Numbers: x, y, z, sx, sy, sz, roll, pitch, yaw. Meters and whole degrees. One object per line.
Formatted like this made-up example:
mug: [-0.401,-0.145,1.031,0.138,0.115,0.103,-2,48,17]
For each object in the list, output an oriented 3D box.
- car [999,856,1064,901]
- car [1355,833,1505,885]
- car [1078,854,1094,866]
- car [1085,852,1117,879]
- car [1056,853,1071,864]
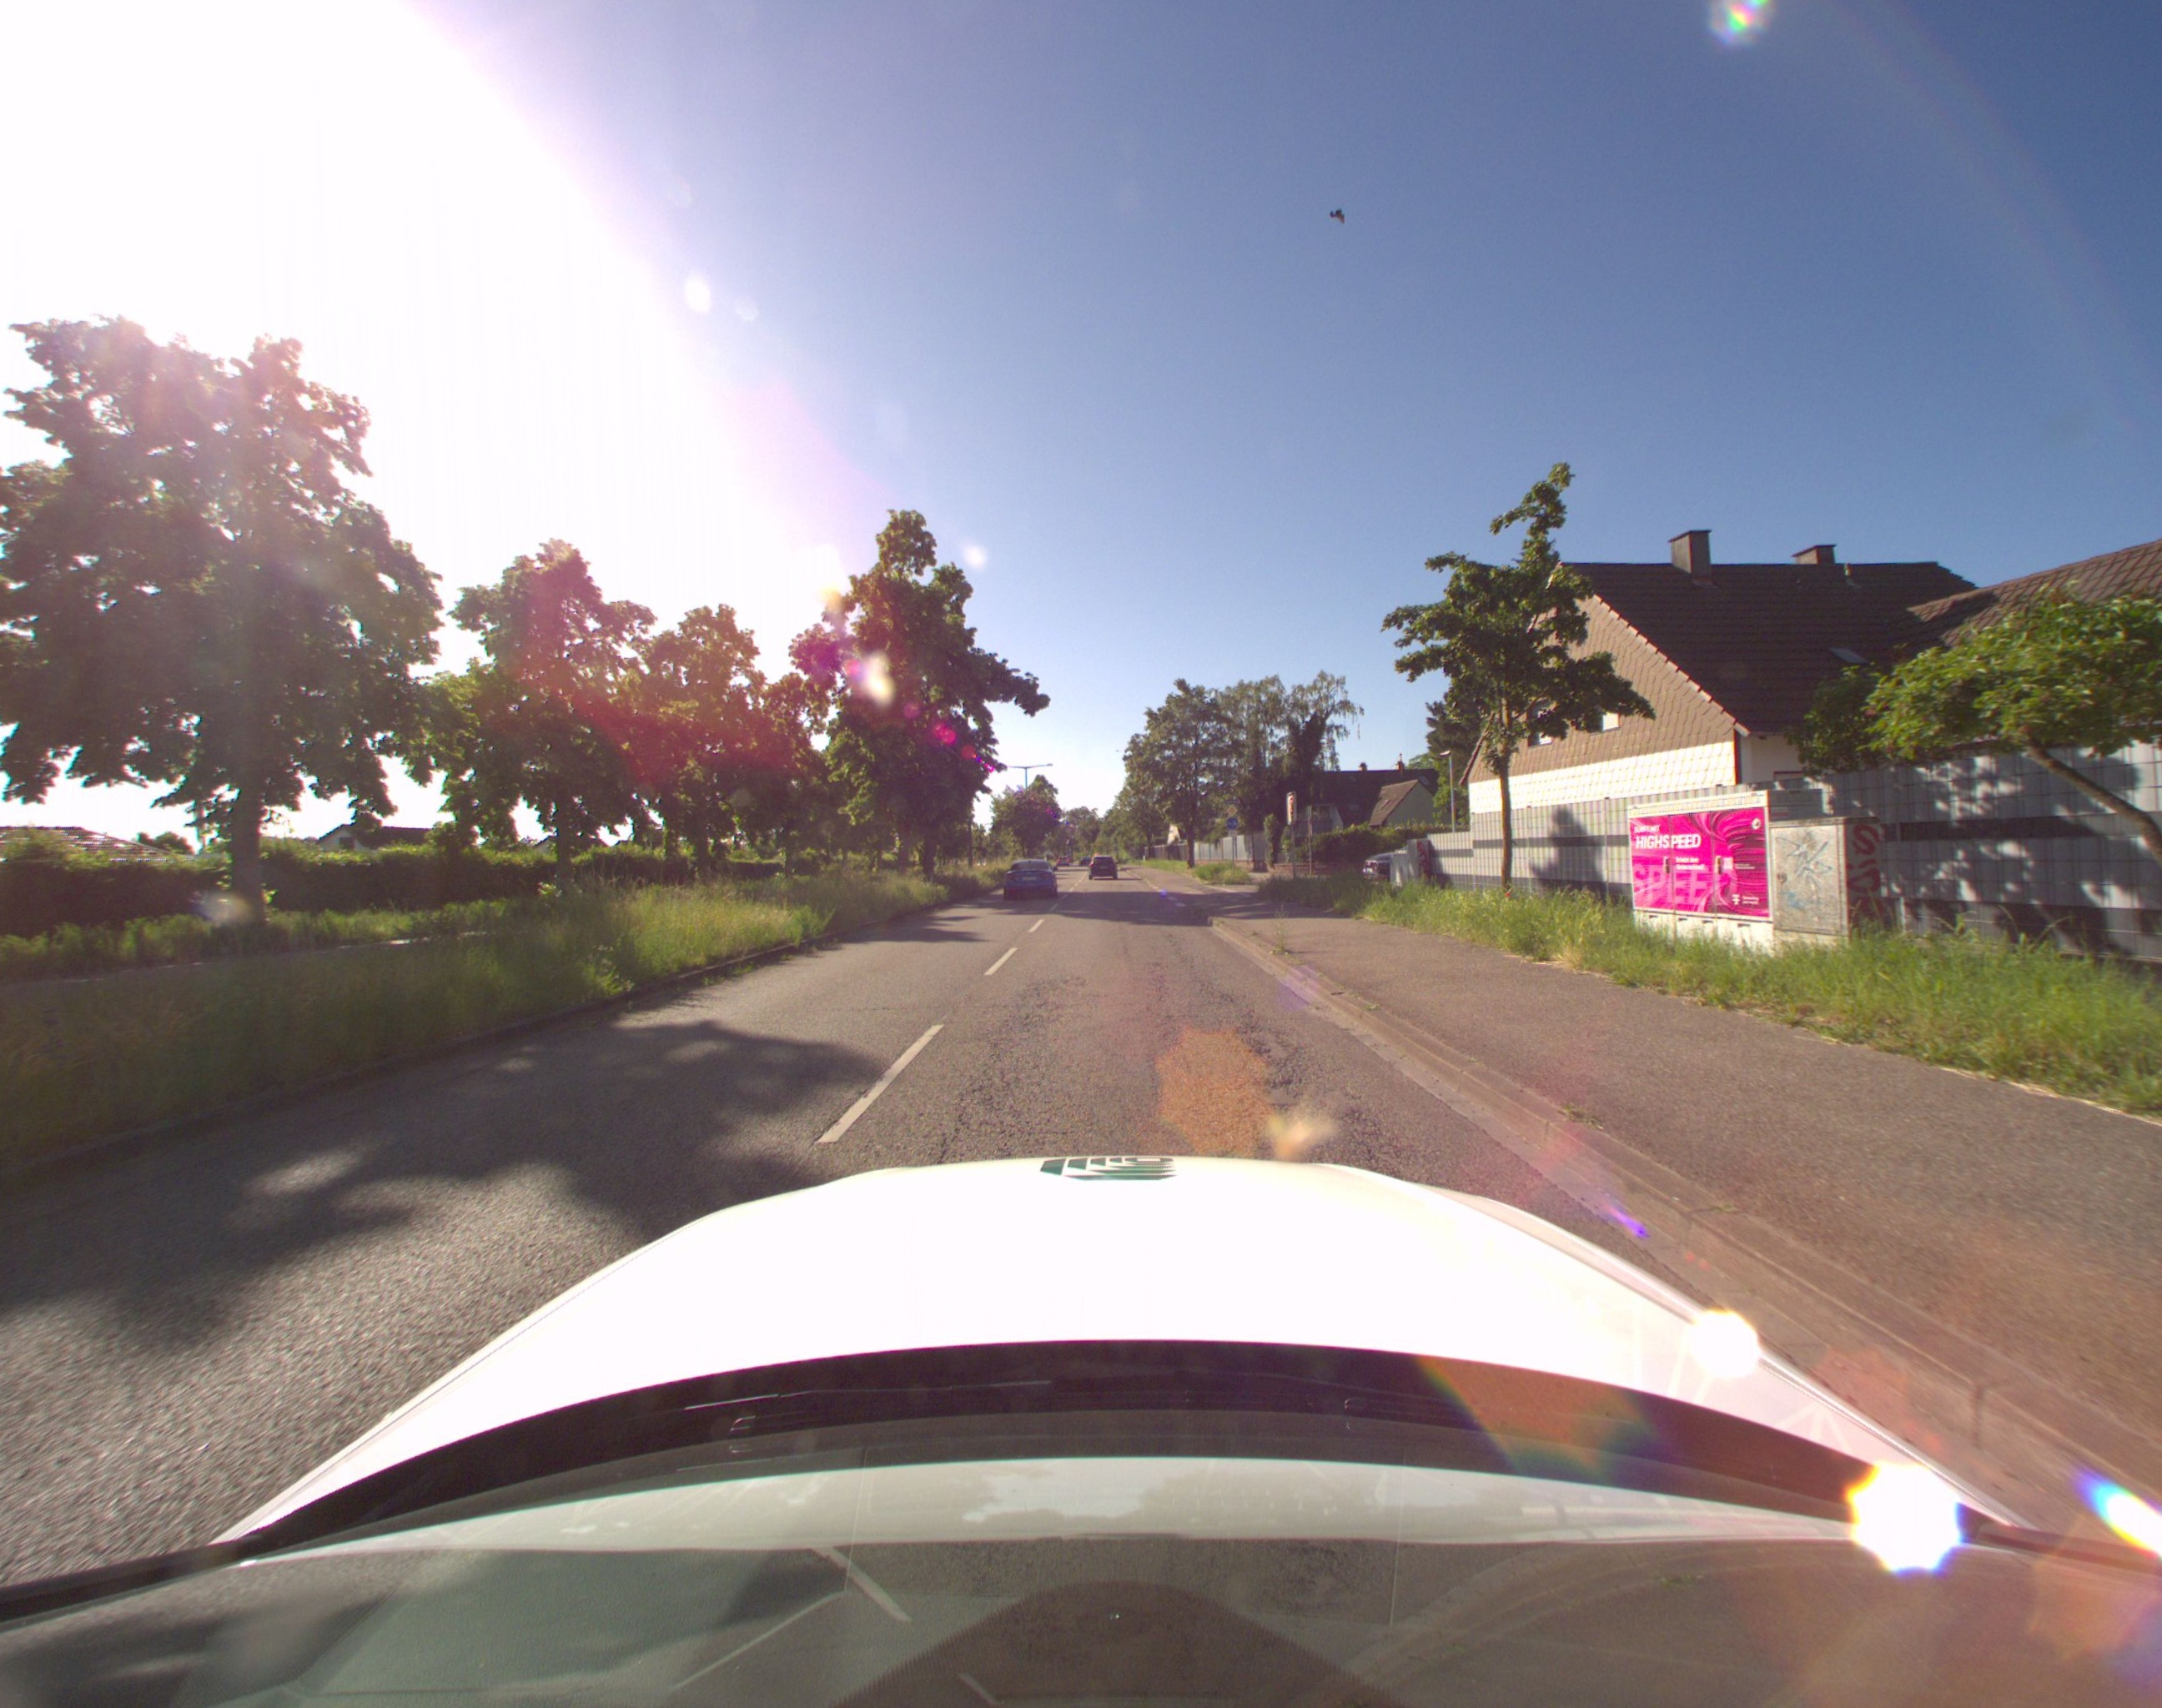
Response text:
car: [-1.756,0.886,30.110,1.830,1.474,4.188,-3,-1,4]
car: [13.048,0.169,30.611,4.734,1.656,2.068,-2,0,-5]
car: [0.705,0.850,121.436,1.912,1.678,4.005,-1,0,-5]
car: [1.223,0.705,50.818,1.909,1.579,4.182,-1,0,1]
car: [-2.494,0.694,117.038,1.909,1.512,4.067,-2,0,0]
